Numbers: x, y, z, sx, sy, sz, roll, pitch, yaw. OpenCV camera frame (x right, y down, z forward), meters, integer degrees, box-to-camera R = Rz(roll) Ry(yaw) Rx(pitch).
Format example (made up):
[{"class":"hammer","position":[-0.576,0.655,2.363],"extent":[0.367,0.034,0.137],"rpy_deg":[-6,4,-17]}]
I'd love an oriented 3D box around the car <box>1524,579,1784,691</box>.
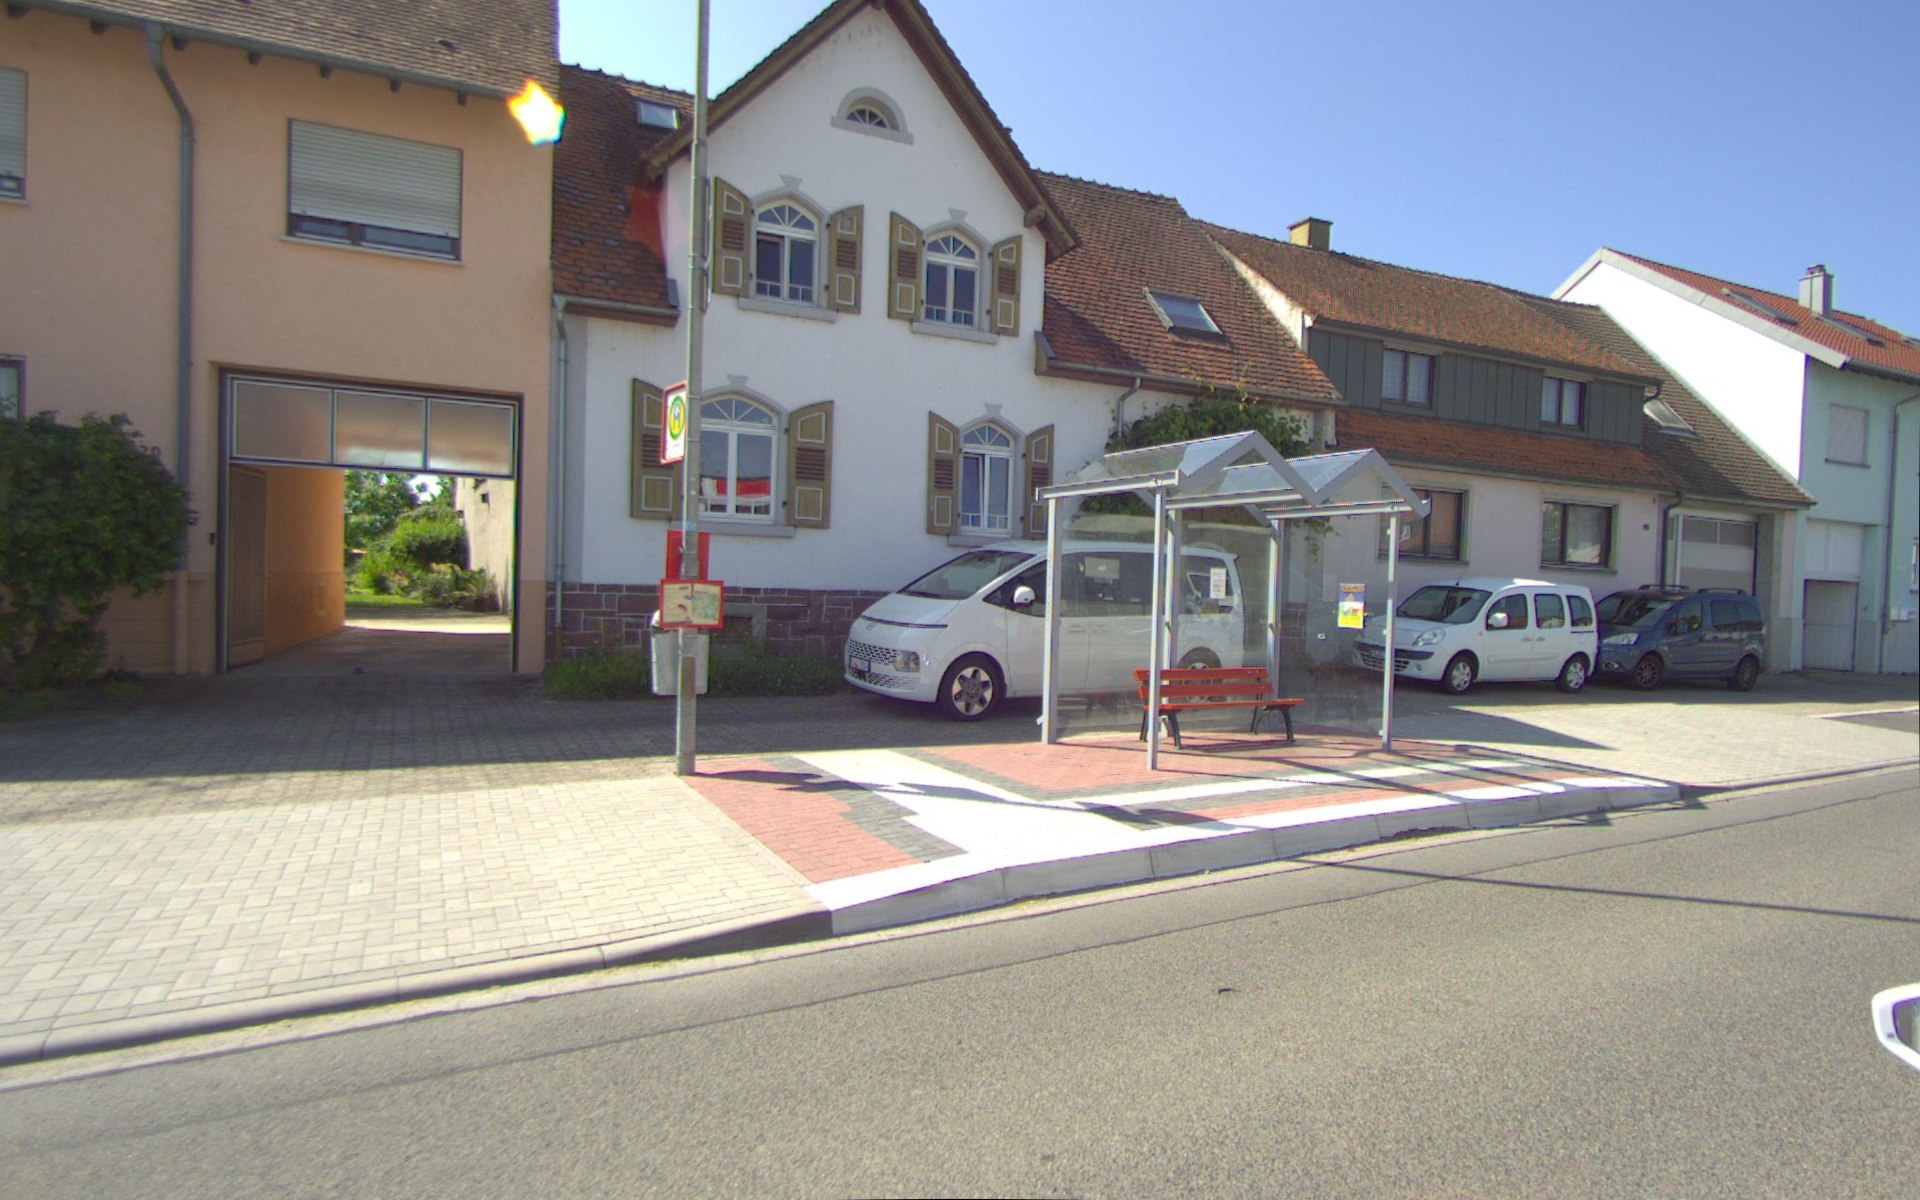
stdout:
[{"class":"car","position":[12.899,0.645,18.689],"extent":[4.279,1.817,1.833],"rpy_deg":[2,3,-22]}]

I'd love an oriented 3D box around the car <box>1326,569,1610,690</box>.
[{"class":"car","position":[8.427,0.488,16.660],"extent":[4.219,1.798,1.962],"rpy_deg":[2,1,-25]}]

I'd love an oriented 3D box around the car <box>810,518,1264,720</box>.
[{"class":"car","position":[1.030,0.244,12.251],"extent":[5.204,2.013,2.115],"rpy_deg":[2,1,-31]}]
